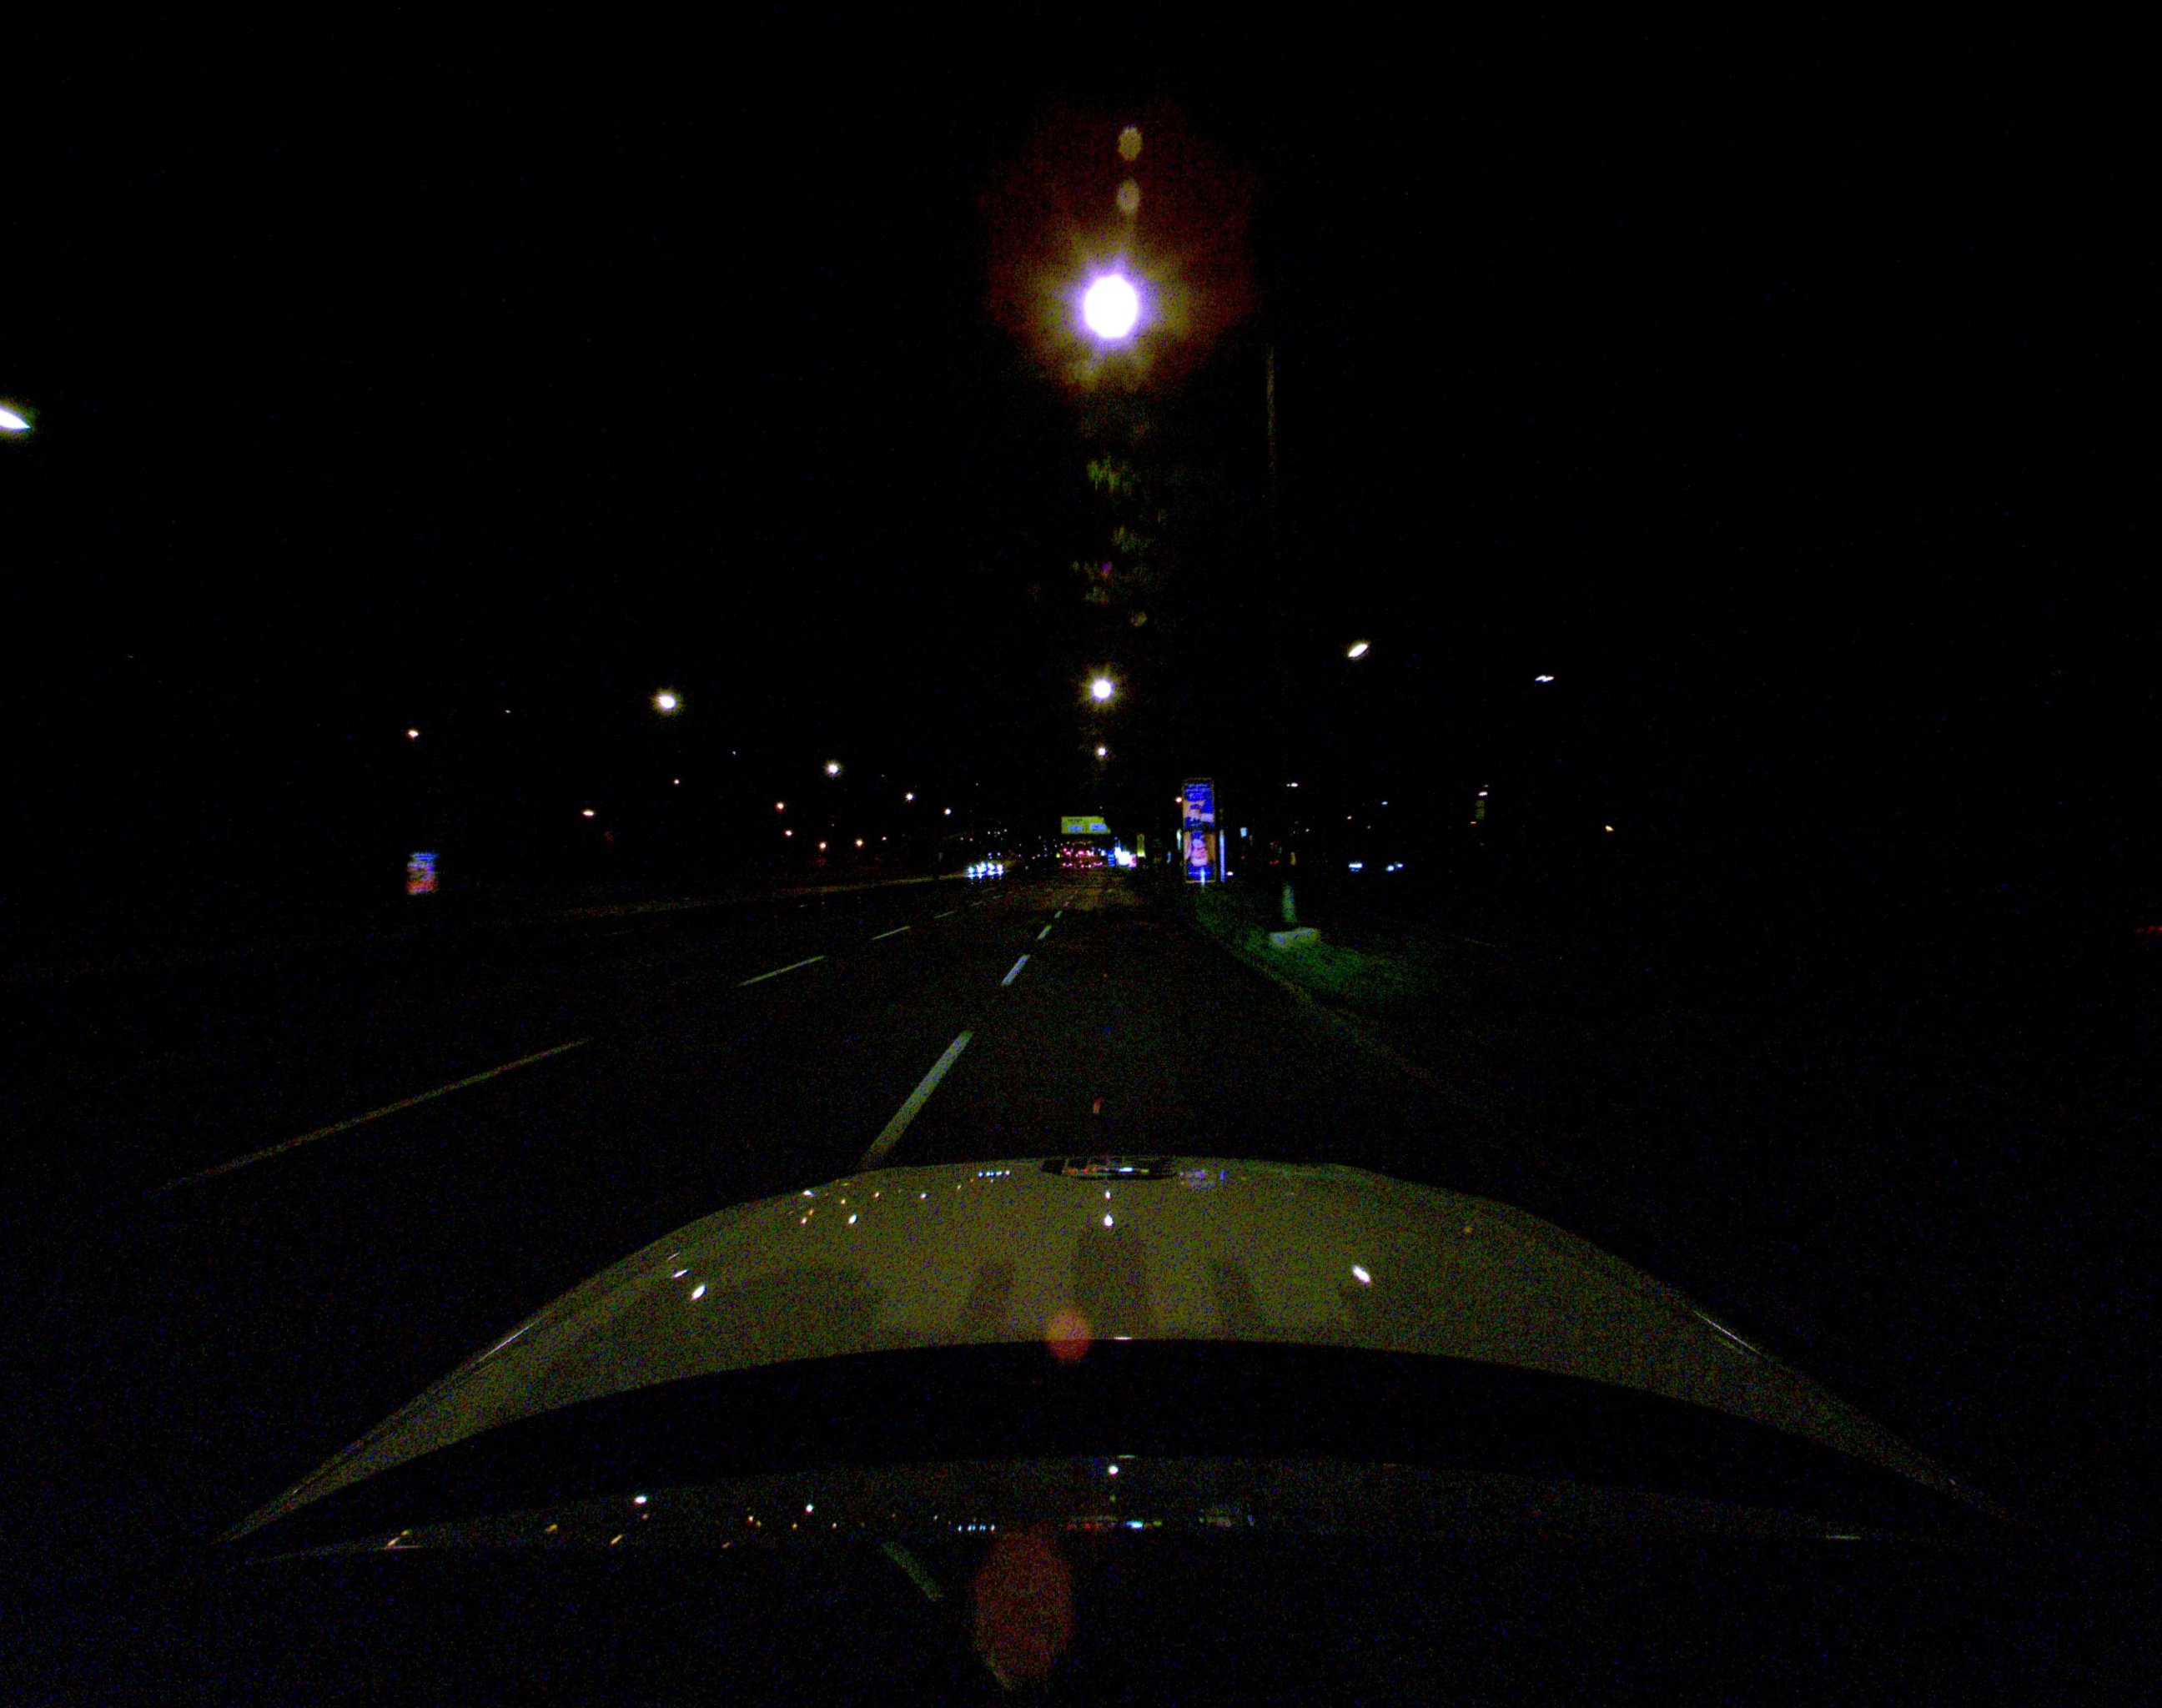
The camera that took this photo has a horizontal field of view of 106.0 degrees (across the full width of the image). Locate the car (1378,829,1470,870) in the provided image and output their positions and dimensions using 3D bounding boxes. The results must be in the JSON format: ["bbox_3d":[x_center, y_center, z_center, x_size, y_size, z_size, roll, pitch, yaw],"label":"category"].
[{"bbox_3d":[16.343,-0.218,38.868,3.780,1.862,1.985,-1,0,-23],"label":"car"}]

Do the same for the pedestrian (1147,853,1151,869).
[{"bbox_3d":[10.605,1.113,127.179,0.741,2.435,0.780,0,0,4],"label":"pedestrian"}]

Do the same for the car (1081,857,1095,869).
[{"bbox_3d":[1.319,1.600,150.985,2.345,2.129,4.832,-1,0,4],"label":"car"}]

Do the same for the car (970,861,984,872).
[{"bbox_3d":[-17.495,2.177,137.611,1.857,1.750,3.701,-1,0,0],"label":"car"}]

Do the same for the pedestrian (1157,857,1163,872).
[{"bbox_3d":[10.607,1.395,109.525,0.759,2.063,0.643,-1,0,1],"label":"pedestrian"}]

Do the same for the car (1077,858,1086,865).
[{"bbox_3d":[0.184,1.745,190.529,1.986,1.553,4.001,-1,0,1],"label":"car"}]

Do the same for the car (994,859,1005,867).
[{"bbox_3d":[-16.010,1.798,160.171,1.904,1.473,3.772,-1,0,0],"label":"car"}]

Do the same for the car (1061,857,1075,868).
[{"bbox_3d":[-2.461,1.689,157.263,2.252,2.013,4.832,-1,0,4],"label":"car"}]

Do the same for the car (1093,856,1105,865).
[{"bbox_3d":[4.040,1.420,180.153,2.416,2.113,4.832,-1,0,4],"label":"car"}]

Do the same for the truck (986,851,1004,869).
[{"bbox_3d":[-18.329,1.310,173.295,3.030,3.819,4.936,-1,0,1],"label":"truck"}]
